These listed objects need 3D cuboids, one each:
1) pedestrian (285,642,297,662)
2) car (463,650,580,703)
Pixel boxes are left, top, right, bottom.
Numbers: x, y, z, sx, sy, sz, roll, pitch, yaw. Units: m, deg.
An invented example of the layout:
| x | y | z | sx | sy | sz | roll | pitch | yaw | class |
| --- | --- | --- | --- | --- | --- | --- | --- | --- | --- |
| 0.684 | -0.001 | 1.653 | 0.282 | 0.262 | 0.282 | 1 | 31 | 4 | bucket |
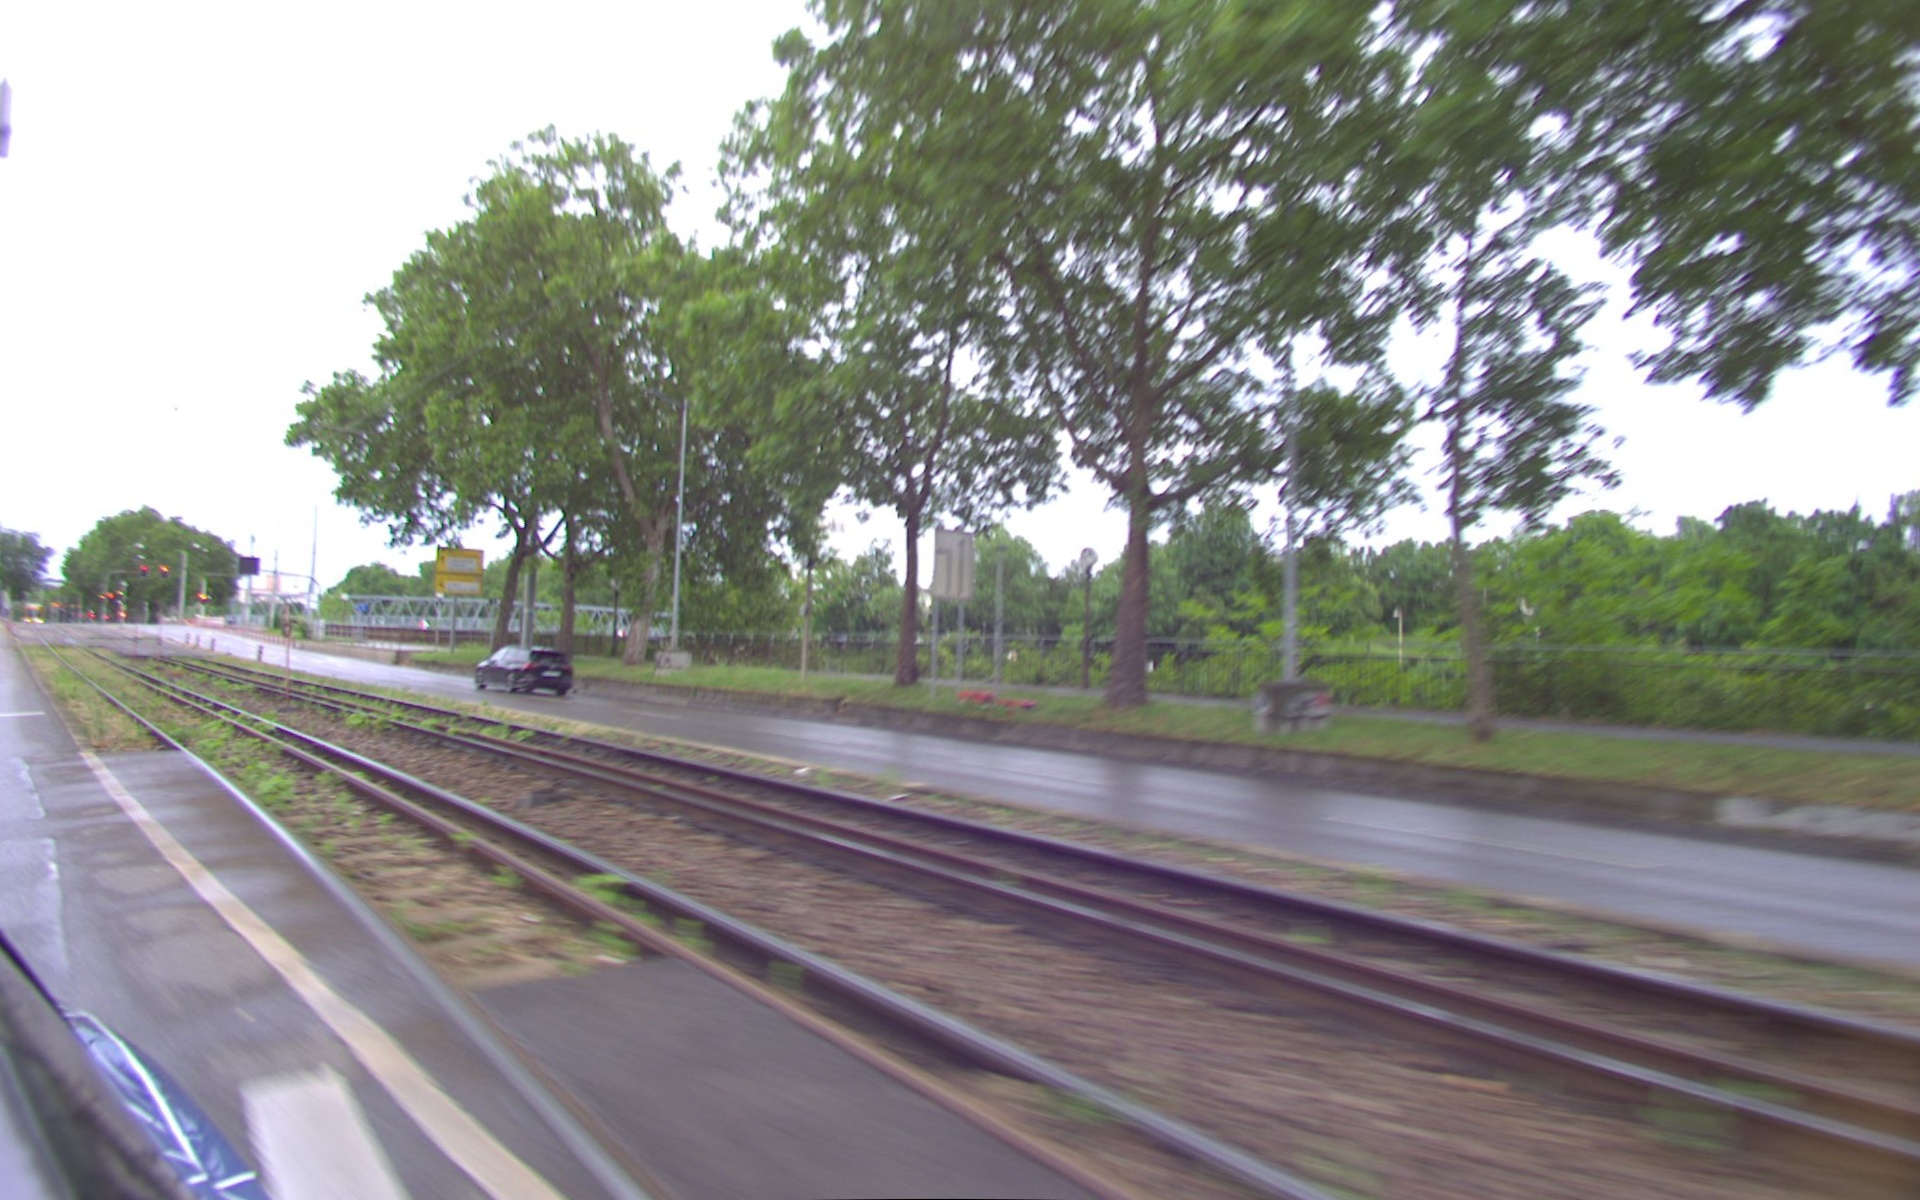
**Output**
| x | y | z | sx | sy | sz | roll | pitch | yaw | class |
| --- | --- | --- | --- | --- | --- | --- | --- | --- | --- |
| -60.430 | 4.693 | 91.416 | 0.619 | 1.701 | 0.756 | -1 | -5 | 45 | pedestrian |
| -13.689 | 2.349 | 31.454 | 1.726 | 1.441 | 4.563 | 7 | -6 | -44 | car |
